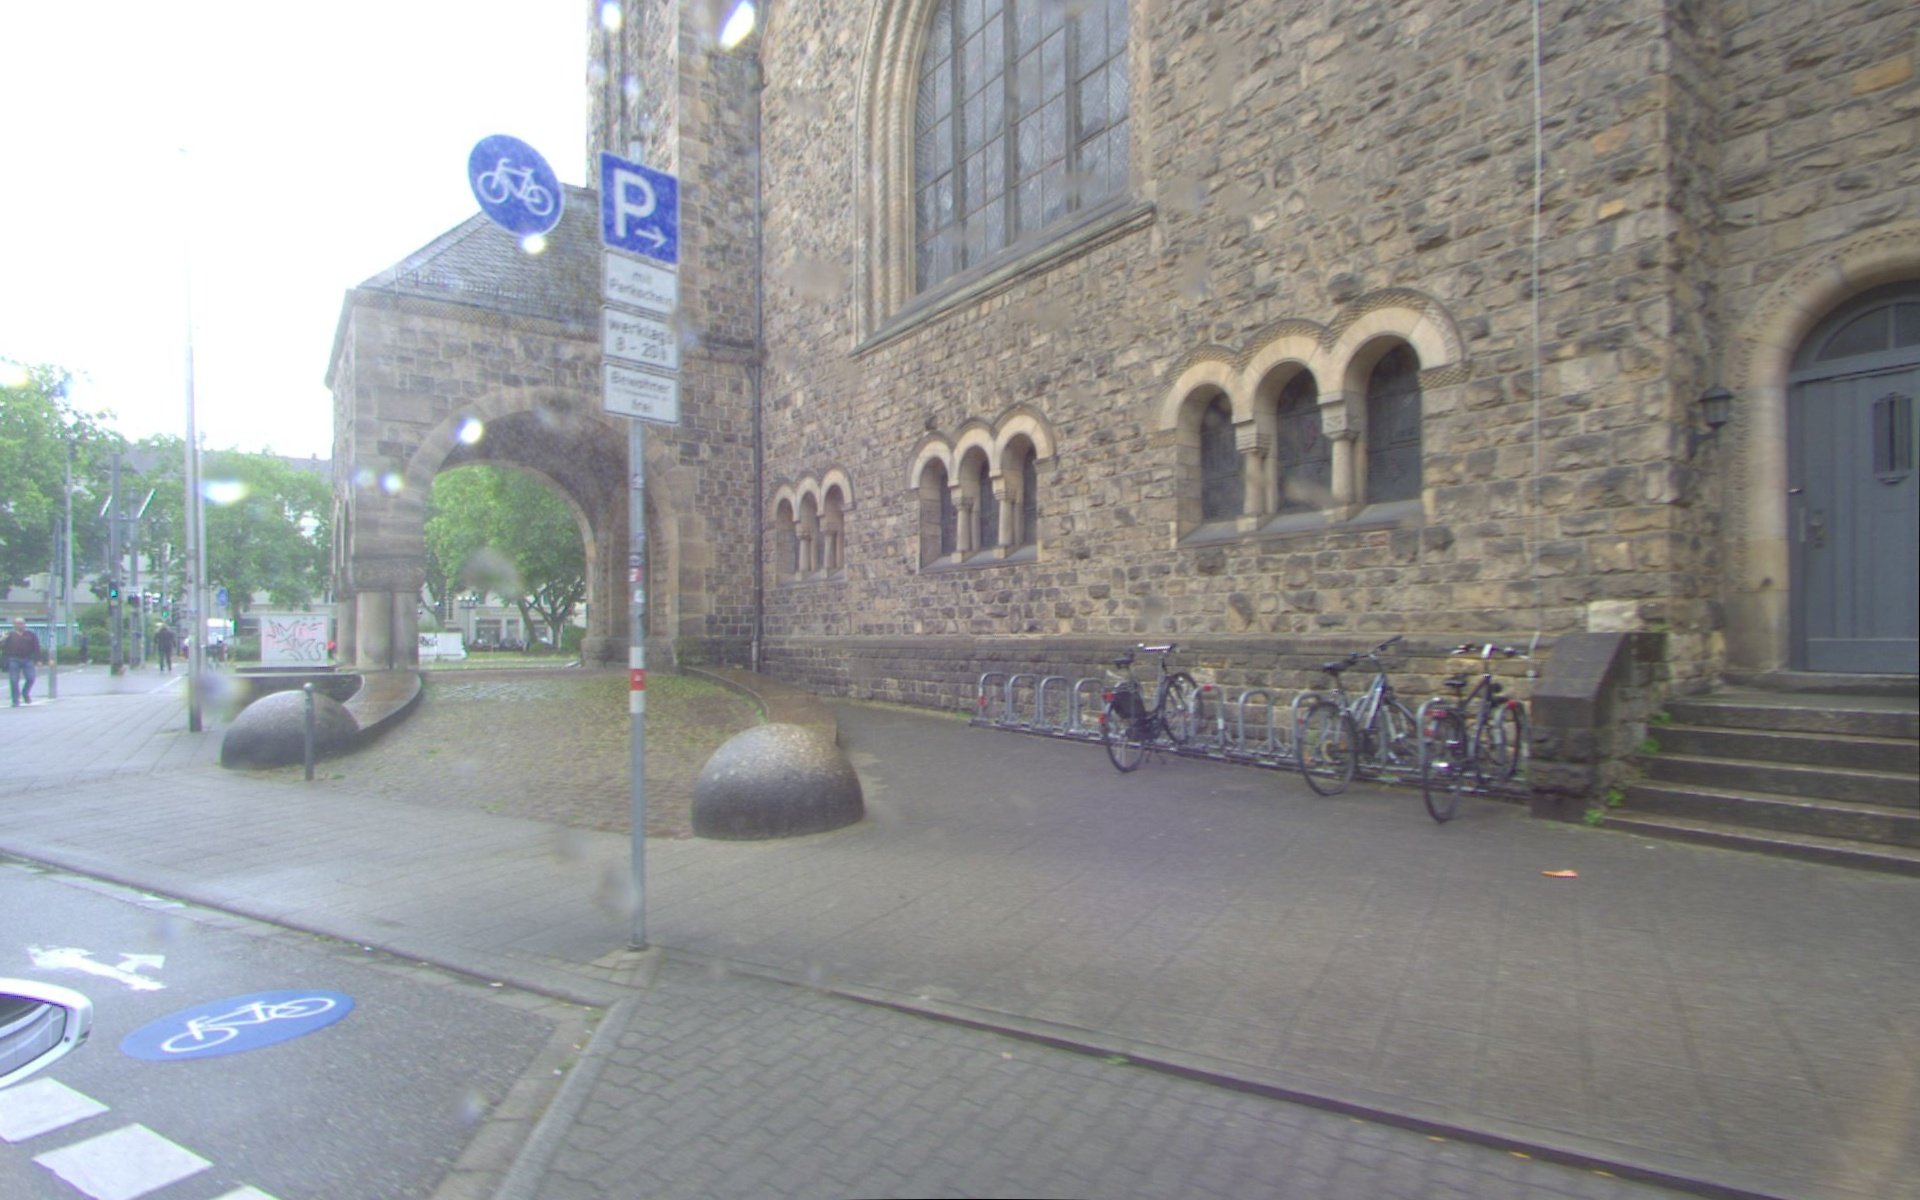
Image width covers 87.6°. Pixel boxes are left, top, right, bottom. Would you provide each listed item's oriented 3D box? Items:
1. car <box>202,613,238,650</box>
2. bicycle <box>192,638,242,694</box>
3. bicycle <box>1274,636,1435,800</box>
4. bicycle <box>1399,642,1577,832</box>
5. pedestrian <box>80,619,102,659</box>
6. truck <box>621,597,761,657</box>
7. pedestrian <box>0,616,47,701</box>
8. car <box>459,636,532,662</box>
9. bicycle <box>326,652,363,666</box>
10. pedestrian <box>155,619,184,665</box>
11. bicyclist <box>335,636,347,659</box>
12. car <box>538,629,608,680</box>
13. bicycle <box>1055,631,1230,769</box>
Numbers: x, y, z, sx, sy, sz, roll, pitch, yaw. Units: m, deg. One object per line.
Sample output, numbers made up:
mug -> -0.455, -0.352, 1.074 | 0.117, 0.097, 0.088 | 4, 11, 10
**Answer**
car -> -53.270, 2.278, 72.138 | 1.888, 2.588, 4.757 | 0, -2, -34
bicycle -> -16.113, 1.410, 21.692 | 2.049, 1.169, 0.327 | -1, -1, 38
bicycle -> 3.228, 0.891, 8.112 | 1.697, 1.126, 0.556 | -2, 0, -45
bicycle -> 3.721, 0.871, 6.970 | 1.971, 1.068, 0.507 | -2, 0, -45
pedestrian -> -45.683, 2.044, 52.660 | 0.797, 2.040, 0.586 | 0, -1, -31
truck -> -17.011, 1.715, 63.605 | 8.330, 3.569, 2.361 | 1, -1, -35
pedestrian -> -20.340, 1.251, 21.725 | 0.780, 1.782, 0.936 | 0, 0, -43
car -> -26.212, 2.735, 56.561 | 3.528, 1.405, 1.617 | 1, -1, -36
bicycle -> -33.973, 3.242, 55.269 | 1.683, 0.728, 0.648 | 1, -1, -38
pedestrian -> -29.036, 1.533, 36.780 | 0.775, 1.667, 0.651 | 0, 0, -34
bicyclist -> -34.134, 2.626, 55.200 | 0.517, 1.266, 0.648 | 0, -1, -36
car -> -12.217, 1.679, 31.501 | 1.389, 1.498, 3.200 | 1, -2, -34
bicycle -> 1.791, 0.896, 9.587 | 0.684, 1.119, 1.973 | -2, 0, 43
